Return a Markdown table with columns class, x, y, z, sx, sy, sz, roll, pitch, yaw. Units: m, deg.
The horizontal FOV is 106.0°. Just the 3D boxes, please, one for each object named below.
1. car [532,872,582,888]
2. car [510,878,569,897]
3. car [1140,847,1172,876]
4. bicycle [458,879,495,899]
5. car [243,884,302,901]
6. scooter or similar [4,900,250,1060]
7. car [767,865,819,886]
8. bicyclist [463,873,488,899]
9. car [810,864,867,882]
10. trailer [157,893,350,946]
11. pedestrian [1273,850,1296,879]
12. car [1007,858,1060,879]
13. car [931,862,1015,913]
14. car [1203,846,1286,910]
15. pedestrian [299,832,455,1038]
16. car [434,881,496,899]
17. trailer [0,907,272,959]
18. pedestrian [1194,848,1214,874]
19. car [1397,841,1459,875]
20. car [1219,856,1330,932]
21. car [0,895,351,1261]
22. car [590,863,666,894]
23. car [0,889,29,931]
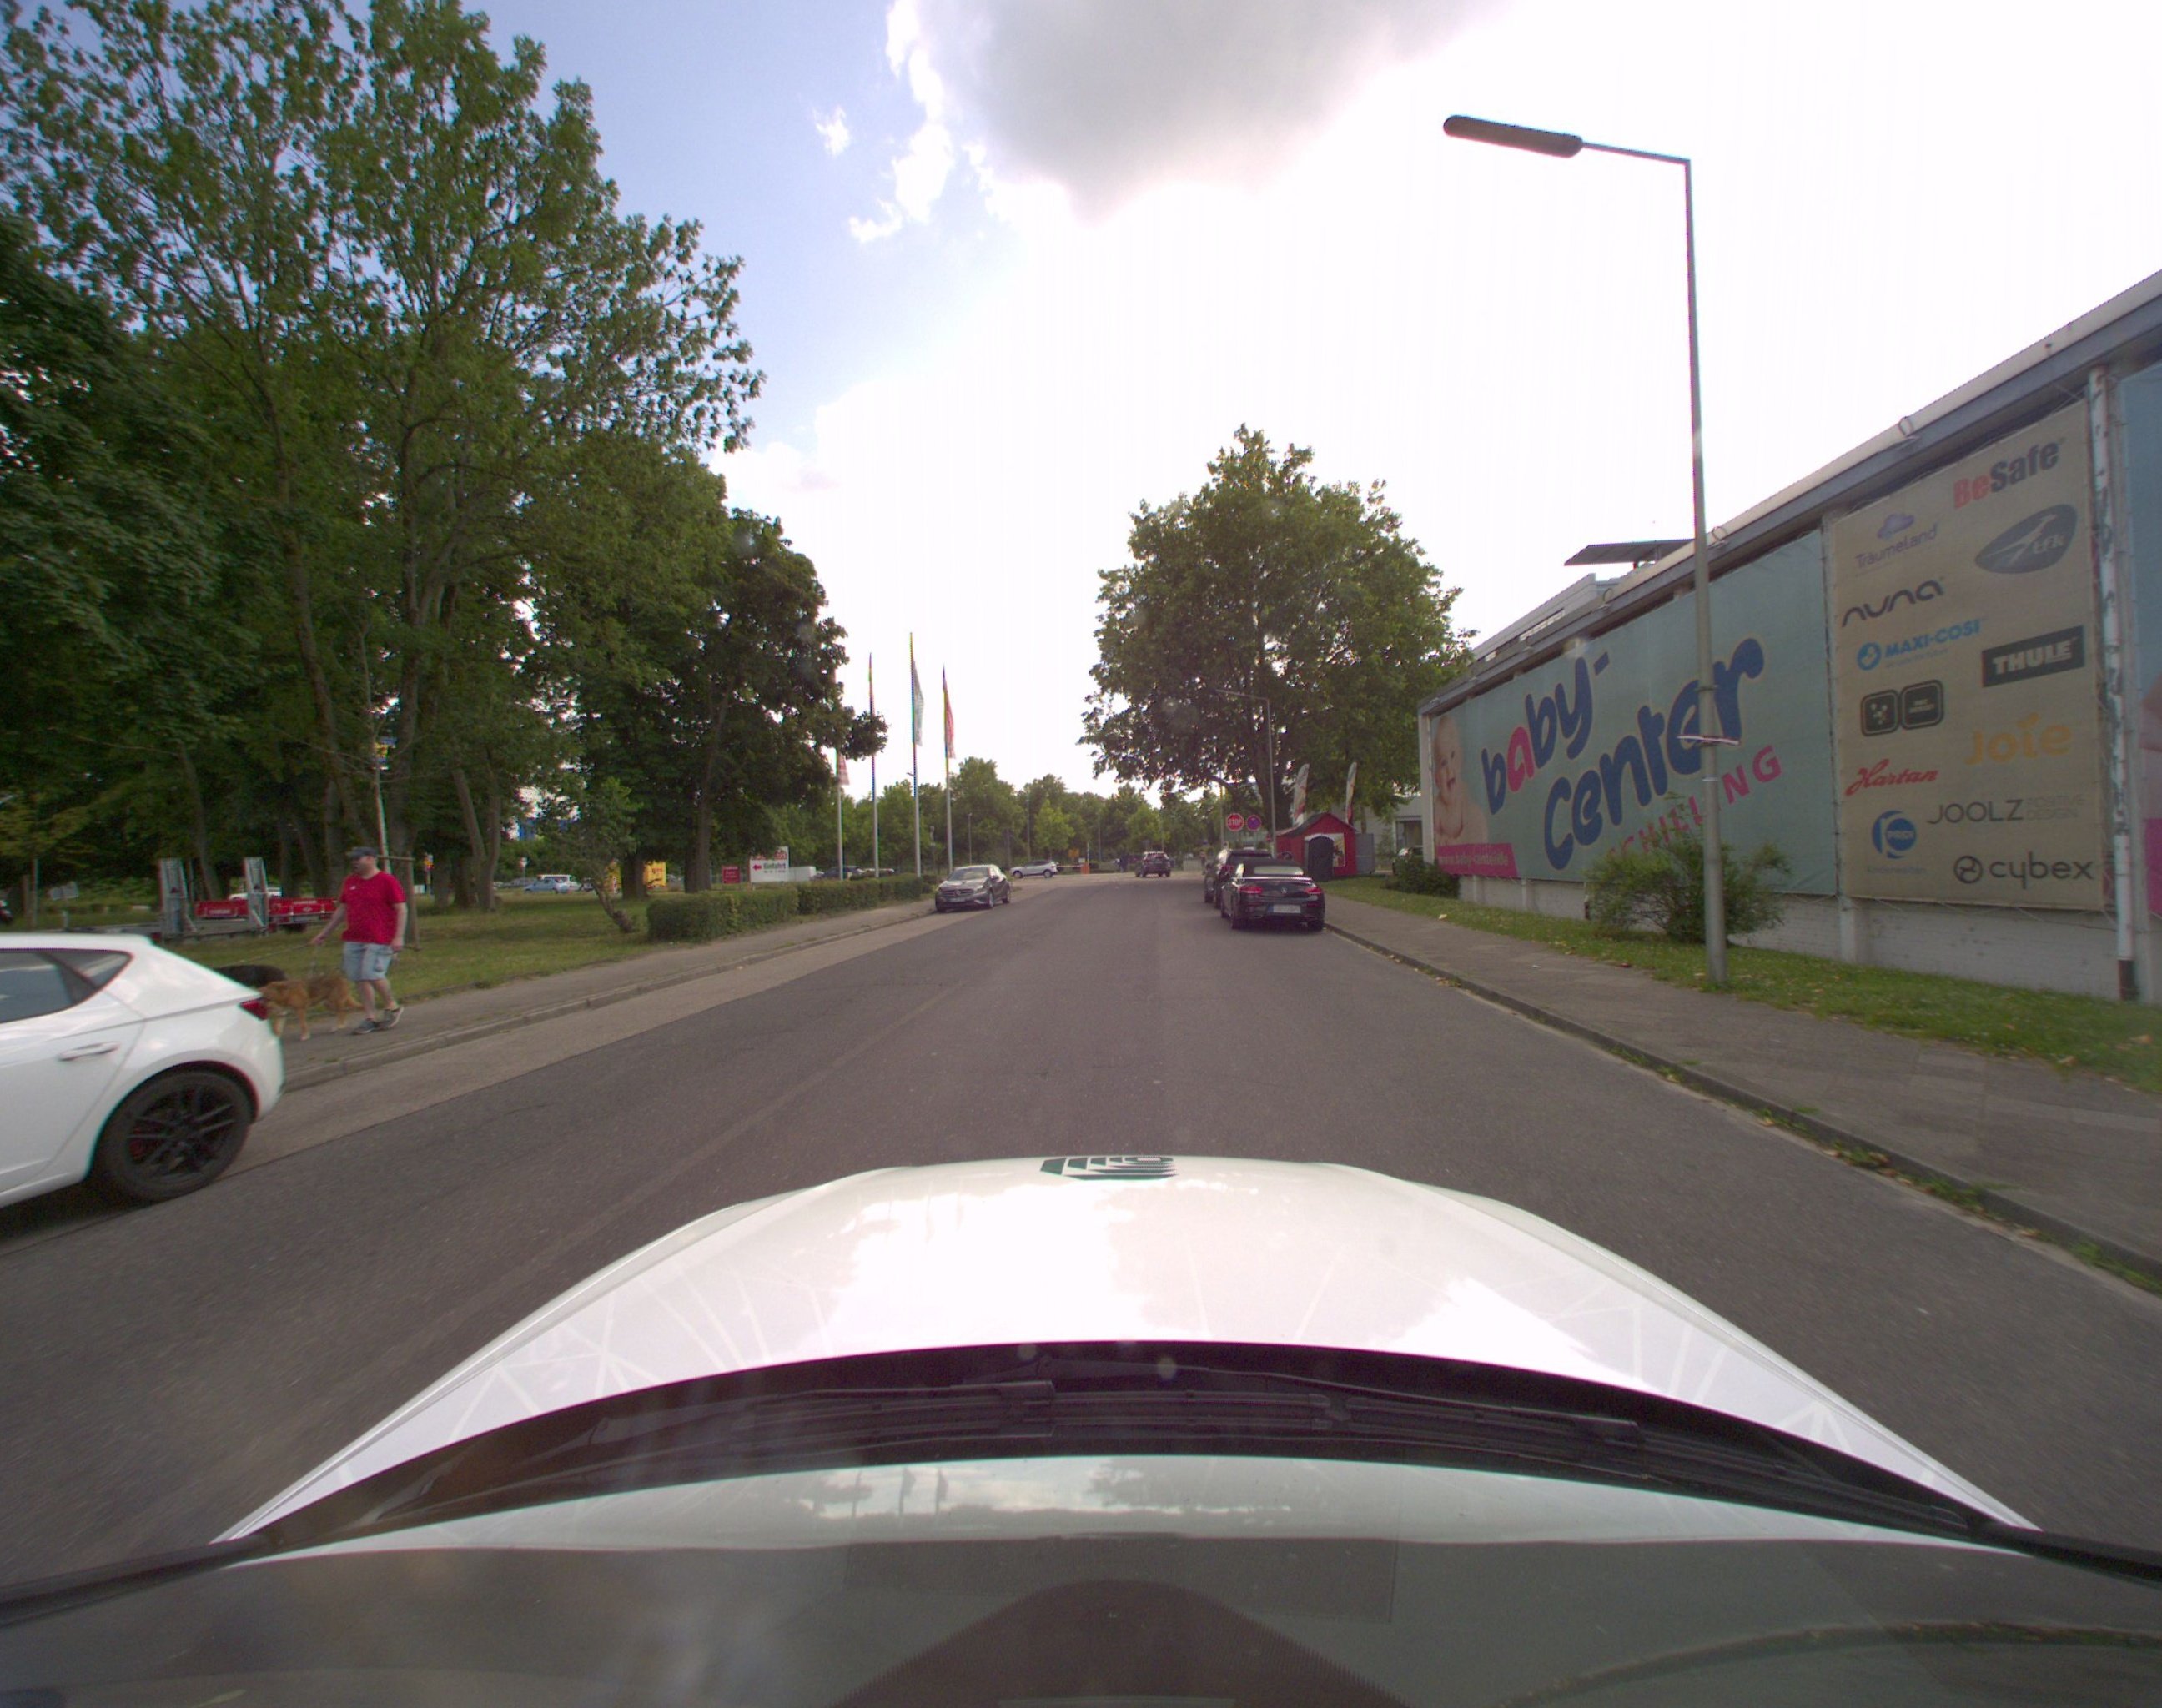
| class | x | y | z | sx | sy | sz | roll | pitch | yaw |
| --- | --- | --- | --- | --- | --- | --- | --- | --- | --- |
| car | -58.501 | 2.894 | 90.984 | 1.974 | 1.684 | 4.289 | -2 | -1 | 42 |
| car | -47.540 | 2.929 | 71.535 | 4.001 | 1.406 | 1.799 | -2 | 0 | 3 |
| car | 5.104 | 0.500 | 55.673 | 1.954 | 1.815 | 4.279 | -2 | 0 | 3 |
| bicycle | -39.909 | 2.330 | 53.752 | 1.803 | 1.166 | 0.730 | -3 | 1 | 0 |
| car | -81.156 | 3.852 | 81.794 | 1.850 | 1.503 | 3.935 | -2 | -1 | 38 |
| scooter or similar | -8.230 | 1.030 | 7.094 | 0.513 | 1.193 | 1.285 | -1 | -1 | 16 |
| car | -33.724 | 2.496 | 95.427 | 5.266 | 2.211 | 1.798 | -2 | -1 | 1 |
| bicyclist | -39.972 | 2.118 | 53.734 | 1.003 | 1.647 | 0.734 | -3 | 1 | 0 |
| car | -20.778 | 1.616 | 69.970 | 4.203 | 1.406 | 1.925 | -2 | 0 | 3 |
| trailer | -21.927 | 1.721 | 21.643 | 3.793 | 1.190 | 1.720 | -2 | 0 | 10 |
| pedestrian | 9.516 | 0.507 | 38.156 | 1.007 | 1.314 | 0.968 | -2 | -1 | 13 |
| car | -4.029 | 1.205 | 69.498 | 4.203 | 1.579 | 1.925 | -2 | 0 | 3 |
| car | -3.521 | 1.057 | 27.333 | 1.701 | 1.420 | 4.339 | -5 | 0 | 6 |
| car | 4.645 | 0.614 | 23.746 | 1.800 | 1.665 | 4.645 | 1 | 0 | 4 |
| pedestrian | -7.324 | 0.808 | 8.519 | 0.805 | 2.014 | 0.886 | -2 | -1 | 4 |
| car | -53.903 | 3.122 | 71.279 | 4.001 | 1.406 | 1.799 | -2 | 0 | 3 |
| trailer | -22.052 | 1.823 | 19.006 | 4.566 | 0.913 | 2.194 | -2 | 0 | 10 |
| pedestrian | 8.797 | 0.489 | 58.493 | 1.001 | 1.849 | 1.224 | -2 | -1 | -13 |
| car | 16.501 | 0.186 | 38.939 | 1.729 | 1.512 | 4.010 | -2 | 0 | 9 |
| car | 4.014 | 0.752 | 17.590 | 1.799 | 1.391 | 4.596 | 1 | 0 | 6 |
| car | -5.573 | 1.065 | 2.949 | 1.757 | 1.479 | 4.240 | -5 | 0 | 4 |
| car | -40.983 | 2.205 | 73.650 | 6.332 | 2.578 | 2.216 | -2 | -1 | 18 |
| car | -40.581 | 2.090 | 28.532 | 1.561 | 1.511 | 4.362 | -2 | -1 | 5 |
